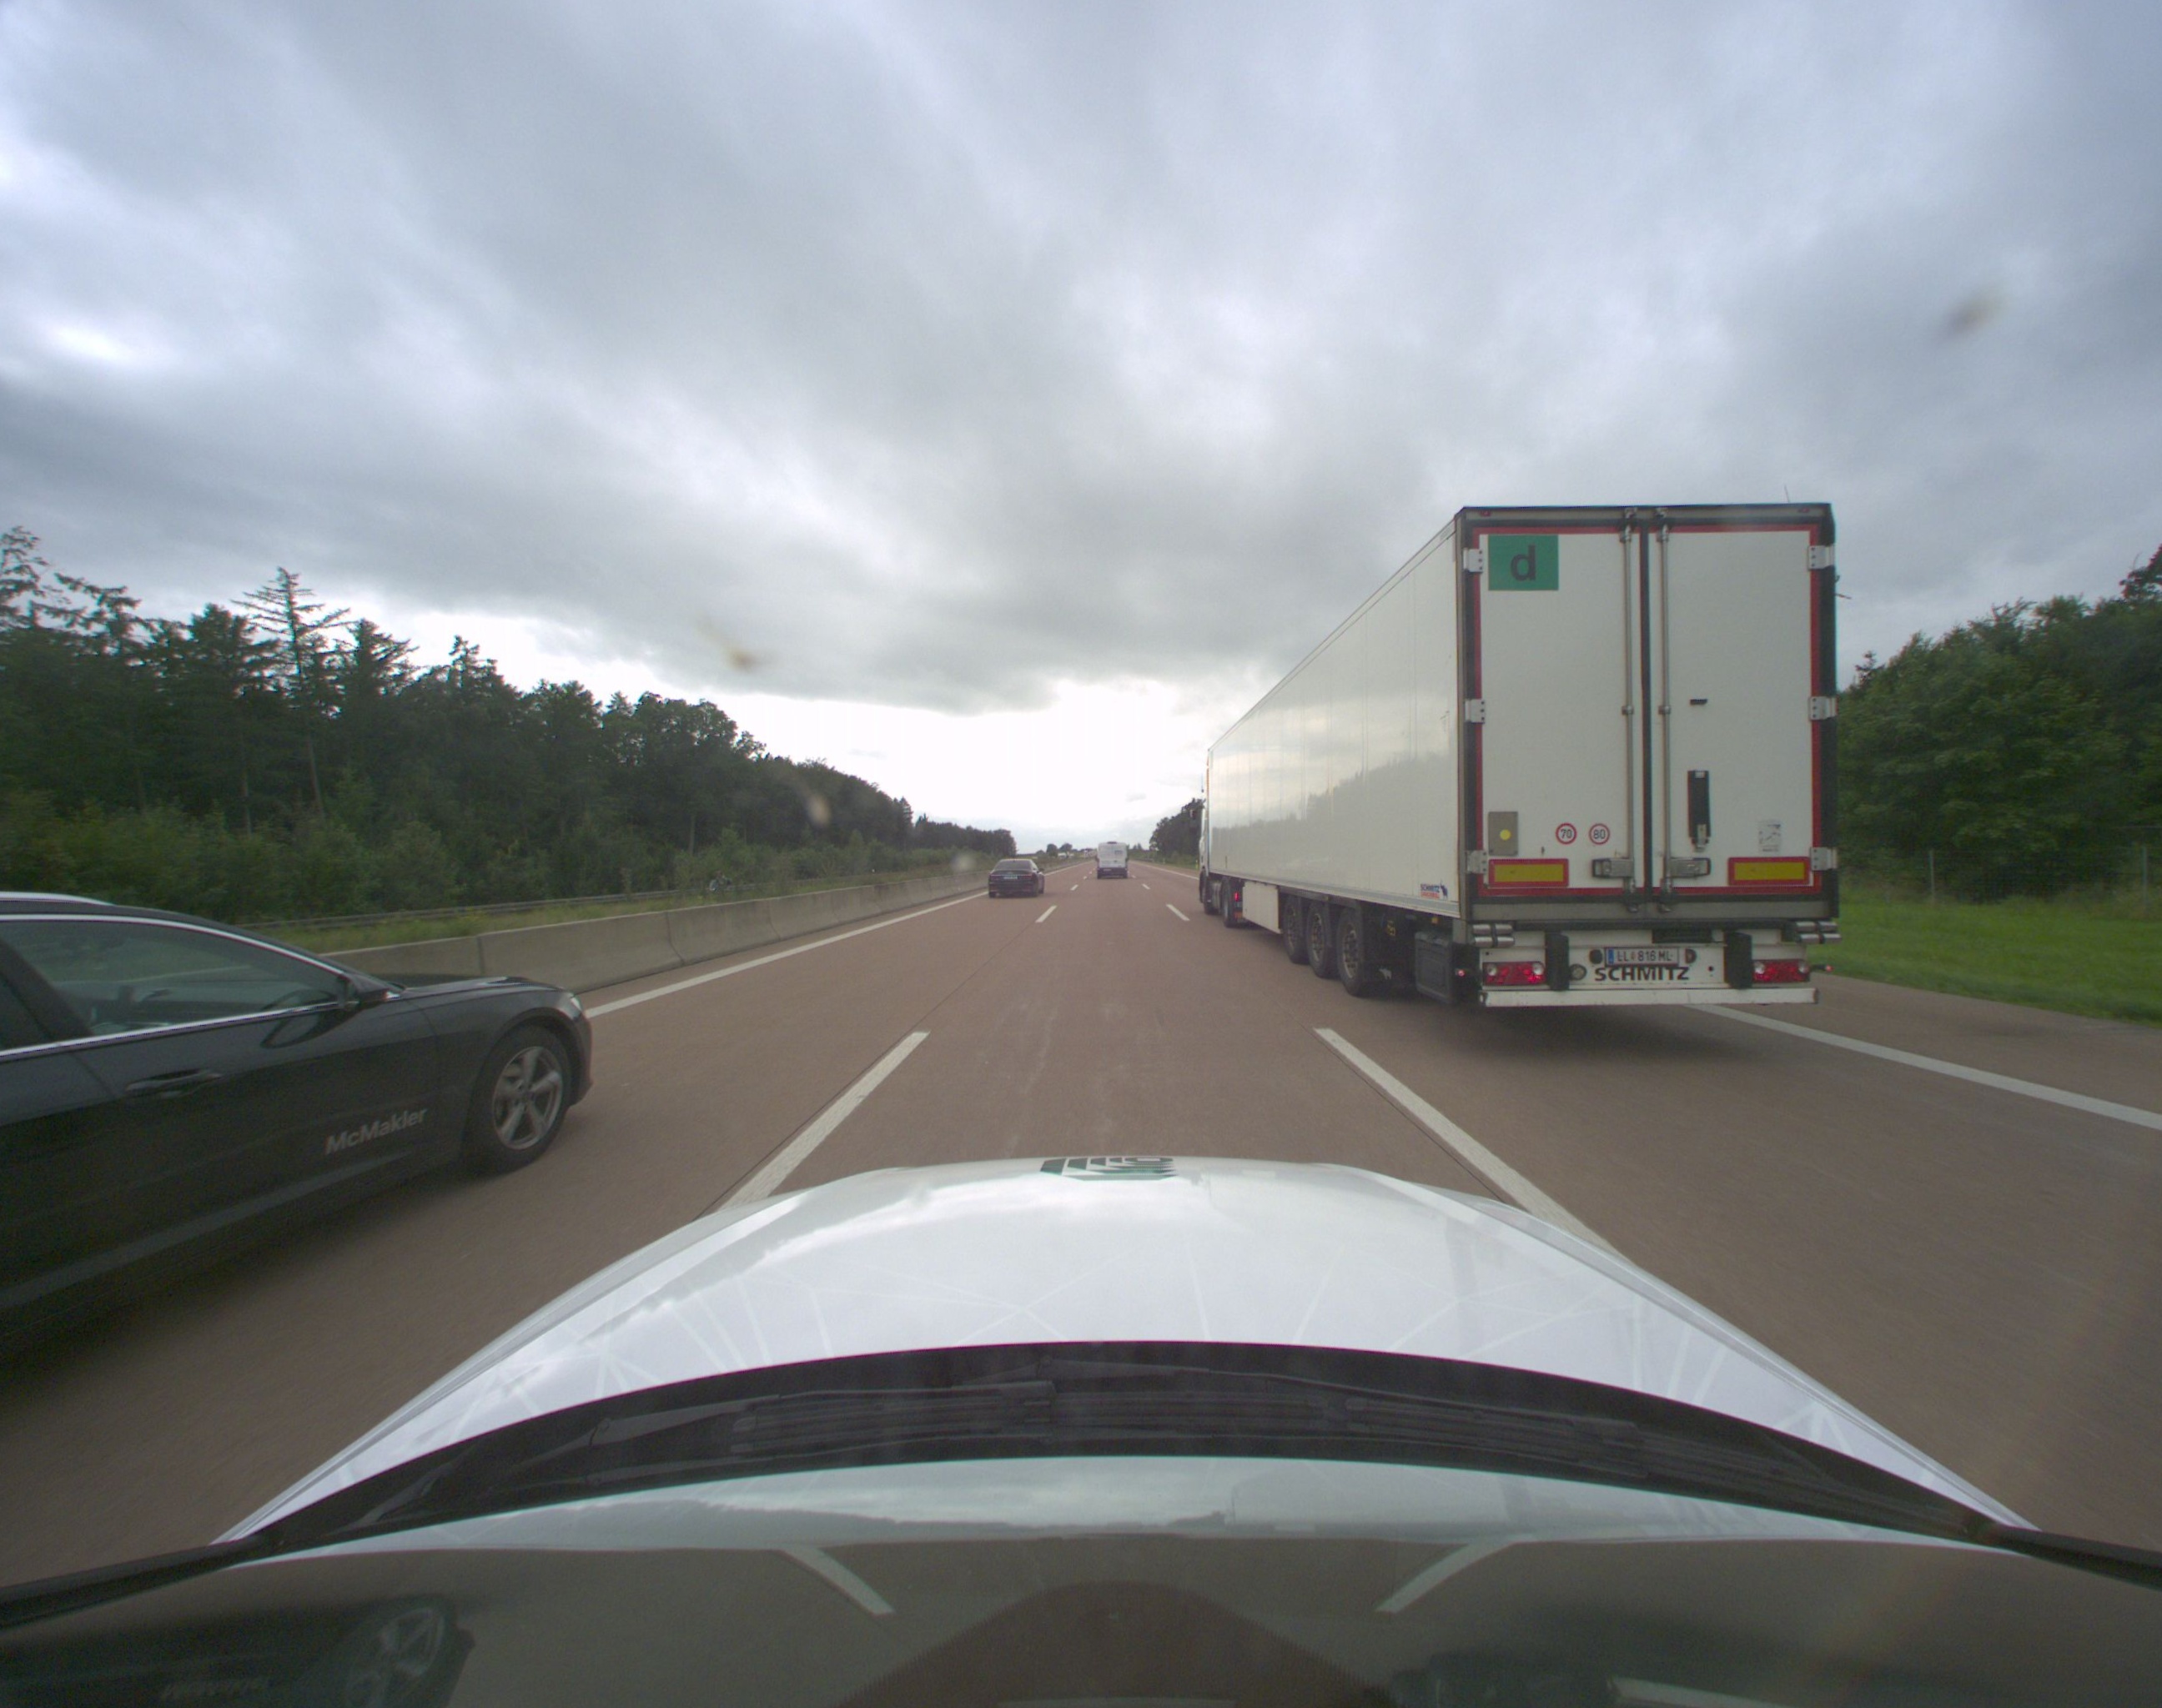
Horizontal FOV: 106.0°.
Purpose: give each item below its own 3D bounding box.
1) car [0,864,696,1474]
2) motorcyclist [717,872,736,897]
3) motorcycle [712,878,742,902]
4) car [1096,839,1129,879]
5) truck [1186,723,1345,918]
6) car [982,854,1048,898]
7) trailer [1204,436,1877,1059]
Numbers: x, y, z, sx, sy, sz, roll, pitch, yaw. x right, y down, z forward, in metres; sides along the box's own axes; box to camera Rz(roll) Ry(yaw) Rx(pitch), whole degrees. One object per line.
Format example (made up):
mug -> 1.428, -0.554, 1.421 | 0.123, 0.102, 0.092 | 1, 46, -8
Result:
car -> -3.734, 0.830, 2.788 | 2.051, 1.491, 5.456 | -1, 0, 2
motorcyclist -> -18.403, 1.581, 42.253 | 0.592, 1.283, 0.802 | 0, 0, 1
motorcycle -> -18.403, 1.881, 42.383 | 0.598, 1.155, 2.155 | 0, 0, 2
car -> 2.178, 0.288, 56.372 | 2.129, 2.507, 7.135 | -1, 0, 2
truck -> 4.433, -0.738, 20.748 | 2.911, 4.294, 5.336 | -1, 0, 1
car -> -2.510, 0.795, 32.504 | 2.078, 1.550, 5.675 | 0, 0, 1
trailer -> 4.208, -0.727, 12.477 | 2.910, 4.294, 13.618 | -1, 0, 2
